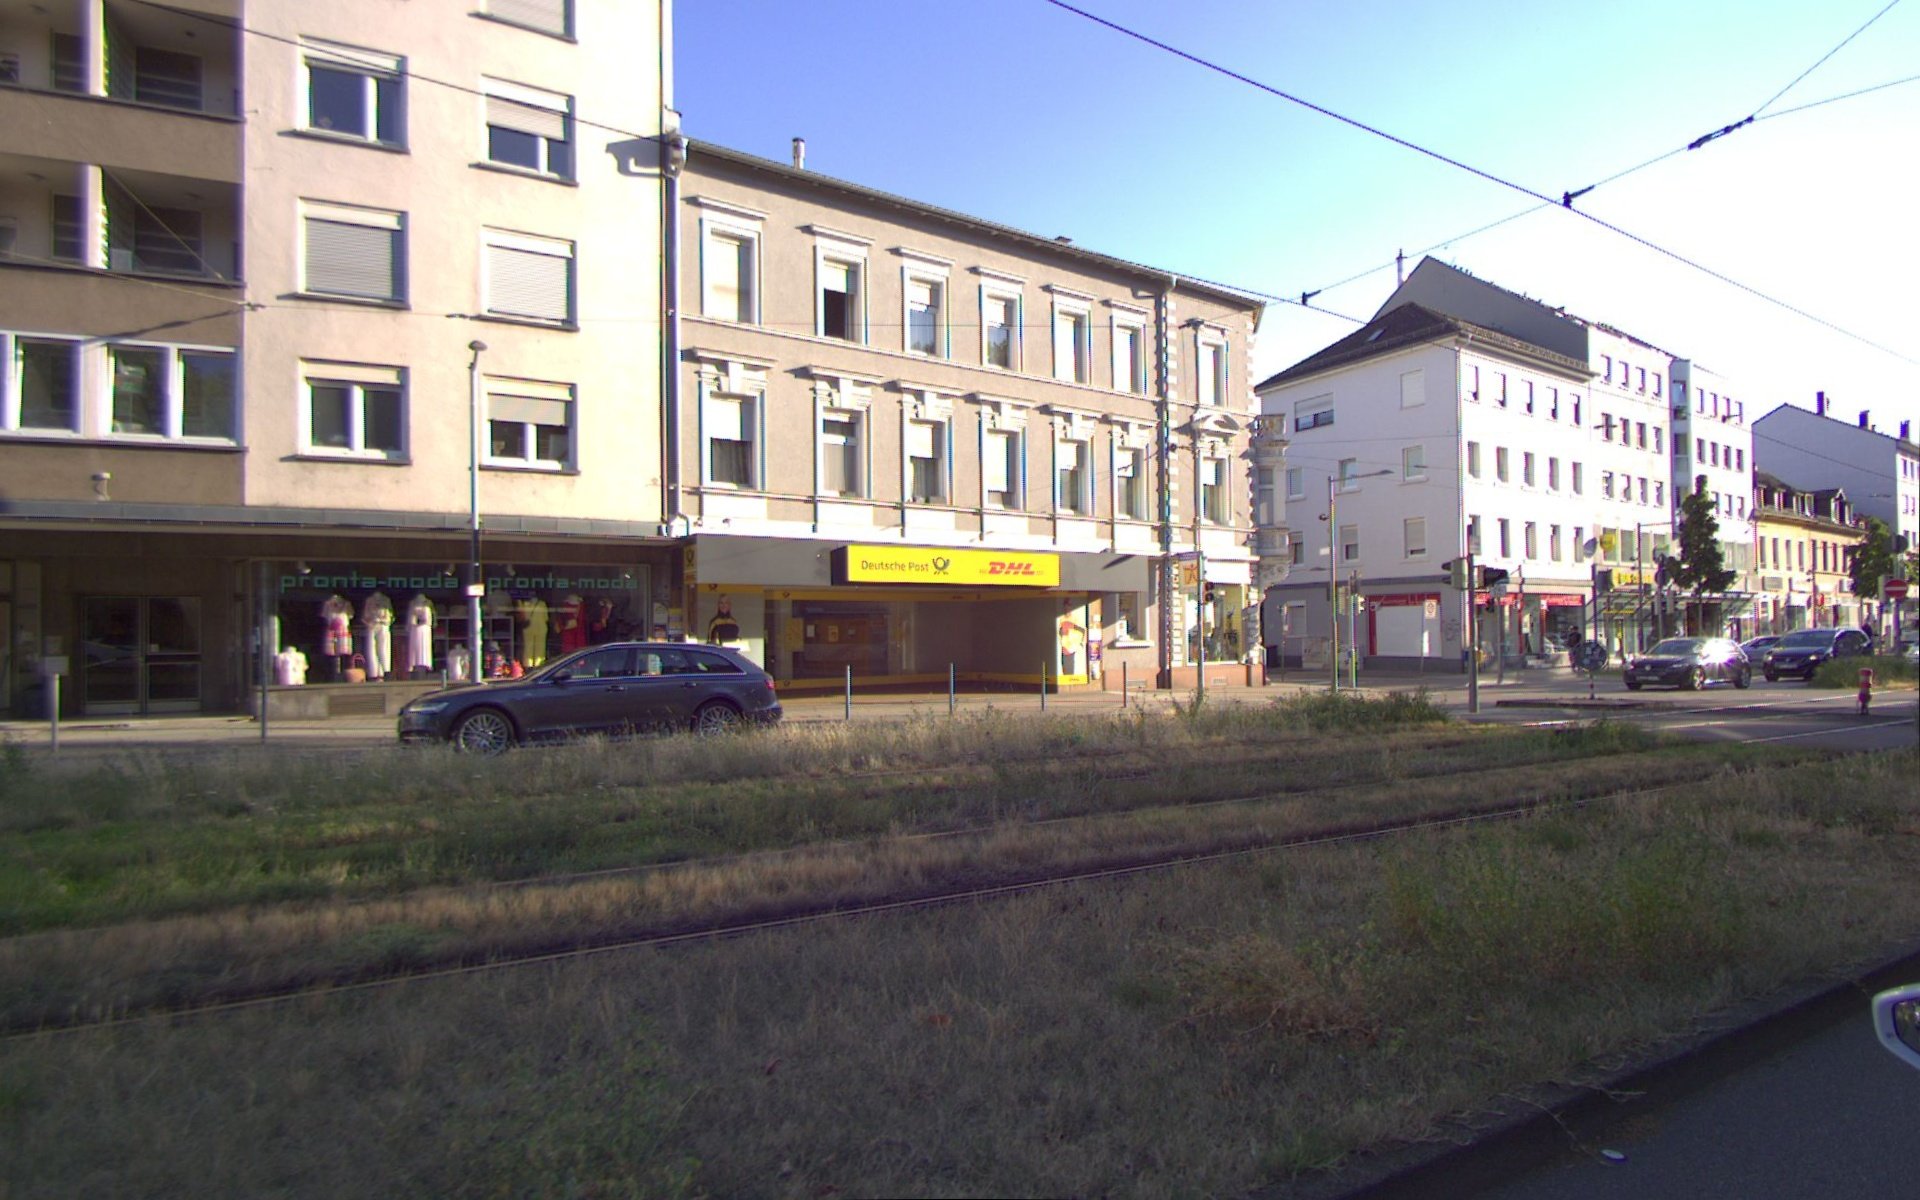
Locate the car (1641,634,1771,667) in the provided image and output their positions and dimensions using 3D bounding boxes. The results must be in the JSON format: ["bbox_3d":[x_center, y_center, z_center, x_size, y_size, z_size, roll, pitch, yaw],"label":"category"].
[{"bbox_3d":[34.450,2.320,46.545,4.465,1.431,1.999,0,-2,24],"label":"car"}]

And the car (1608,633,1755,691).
[{"bbox_3d":[20.418,1.738,28.423,3.994,1.469,1.774,0,-3,-29],"label":"car"}]

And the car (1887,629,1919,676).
[{"bbox_3d":[38.834,2.089,40.034,3.957,1.828,1.887,1,-2,-33],"label":"car"}]

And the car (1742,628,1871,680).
[{"bbox_3d":[28.097,1.754,33.336,4.452,1.636,1.773,1,-2,-29],"label":"car"}]

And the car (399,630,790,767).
[{"bbox_3d":[-4.899,1.213,13.655,4.719,1.579,1.984,1,-2,-31],"label":"car"}]

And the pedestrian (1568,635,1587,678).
[{"bbox_3d":[25.121,2.302,40.855,0.501,1.736,0.424,1,-2,-26],"label":"pedestrian"}]
